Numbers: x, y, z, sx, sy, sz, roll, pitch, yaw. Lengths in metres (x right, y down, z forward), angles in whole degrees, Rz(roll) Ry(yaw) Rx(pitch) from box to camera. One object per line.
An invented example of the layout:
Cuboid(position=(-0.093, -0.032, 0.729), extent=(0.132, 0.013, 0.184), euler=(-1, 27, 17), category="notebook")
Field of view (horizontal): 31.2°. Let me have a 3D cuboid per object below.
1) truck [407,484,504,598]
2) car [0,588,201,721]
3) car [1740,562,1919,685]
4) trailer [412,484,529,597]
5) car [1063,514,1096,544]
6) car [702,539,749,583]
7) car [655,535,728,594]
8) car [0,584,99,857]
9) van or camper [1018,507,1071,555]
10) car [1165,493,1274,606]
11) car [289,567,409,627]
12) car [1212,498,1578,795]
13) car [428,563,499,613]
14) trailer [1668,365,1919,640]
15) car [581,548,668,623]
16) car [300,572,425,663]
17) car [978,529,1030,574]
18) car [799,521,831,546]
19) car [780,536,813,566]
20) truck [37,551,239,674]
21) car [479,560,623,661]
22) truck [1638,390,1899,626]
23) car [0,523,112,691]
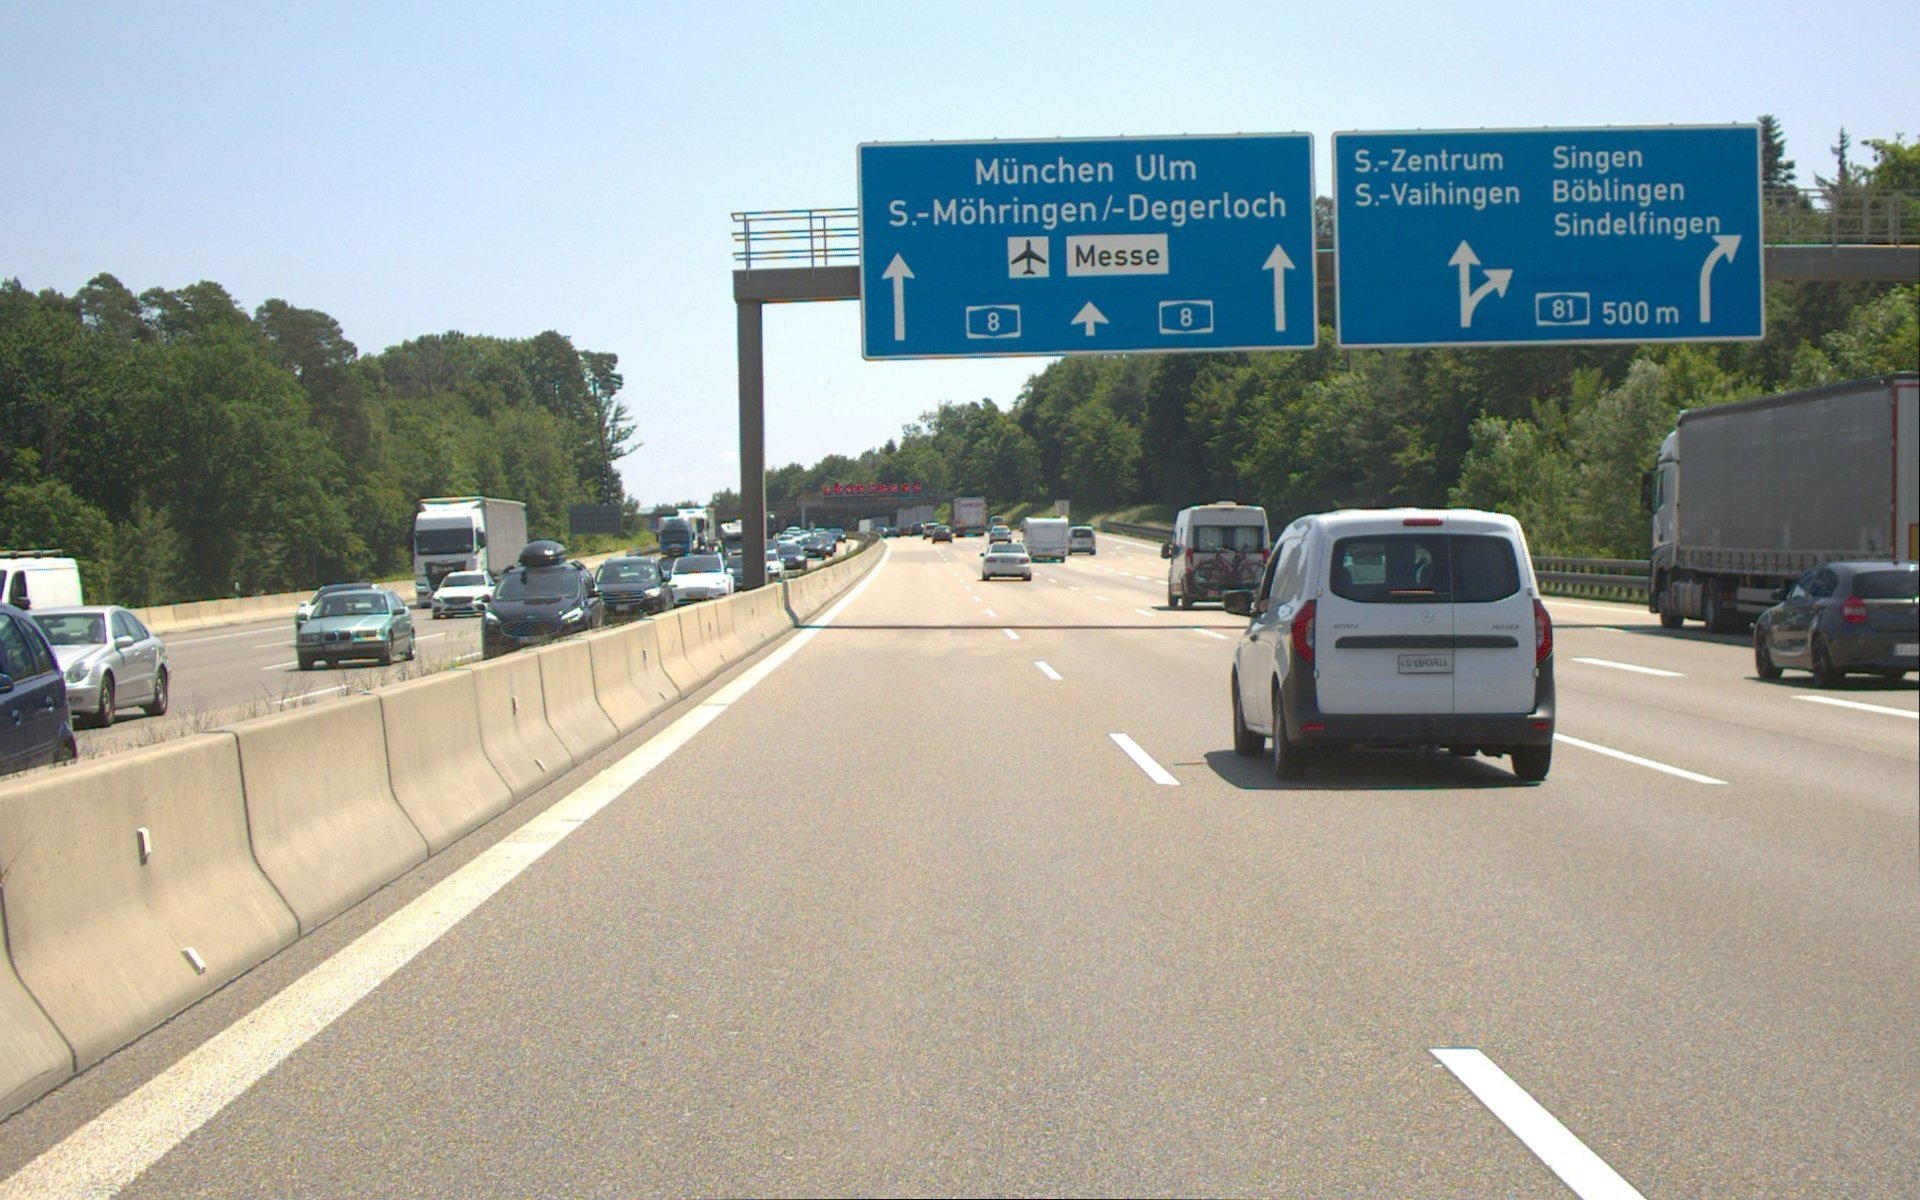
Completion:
Cuboid(position=(-19.510, -2.237, 133.224), extent=(2.760, 4.205, 6.378), euler=(-2, 0, -1), category="truck")
Cuboid(position=(-10.749, 0.636, 42.629), extent=(1.678, 1.439, 4.526), euler=(-3, 1, -1), category="car")
Cuboid(position=(10.163, 0.225, 38.893), extent=(1.670, 1.269, 4.290), euler=(0, 1, 0), category="car")
Cuboid(position=(-19.525, -2.298, 137.928), extent=(2.754, 4.231, 13.719), euler=(-2, 0, -1), category="trailer")
Cuboid(position=(7.542, -4.518, 217.595), extent=(1.820, 1.853, 4.000), euler=(-1, 1, -1), category="car")
Cuboid(position=(-8.636, -1.436, 126.858), extent=(1.537, 1.545, 4.071), euler=(-2, 1, -2), category="car")
Cuboid(position=(-8.005, -1.072, 102.913), extent=(1.812, 1.667, 4.476), euler=(-2, 1, 0), category="car")
Cuboid(position=(-6.777, 0.765, 21.744), extent=(1.705, 1.656, 3.760), euler=(-1, 1, 0), category="car")
Cuboid(position=(4.712, -3.840, 192.825), extent=(2.645, 2.530, 6.502), euler=(-2, 1, -1), category="van or camper")
Cuboid(position=(6.285, -1.244, 83.796), extent=(2.143, 2.643, 5.710), euler=(-1, 1, 0), category="car")
Cuboid(position=(-14.551, -0.099, 82.140), extent=(1.993, 1.302, 4.845), euler=(-2, 1, 0), category="car")
Cuboid(position=(2.927, 0.278, 24.096), extent=(1.859, 1.819, 4.612), euler=(-2, 0, -1), category="car")
Cuboid(position=(-15.765, -0.392, 109.280), extent=(1.663, 1.450, 3.840), euler=(-3, 1, 0), category="car")
Cuboid(position=(14.737, -1.475, 55.963), extent=(3.287, 3.917, 13.891), euler=(0, 1, -1), category="trailer")
Cuboid(position=(-7.921, -0.360, 81.458), extent=(1.754, 1.667, 4.204), euler=(-2, 1, -2), category="car")
Cuboid(position=(-10.762, 0.291, 62.116), extent=(1.549, 1.450, 3.840), euler=(-3, 1, 0), category="car")
Cuboid(position=(1.700, -1.876, 133.420), extent=(1.843, 1.623, 4.553), euler=(-2, 0, -1), category="car")
Cuboid(position=(-9.843, -4.508, 233.878), extent=(1.993, 1.612, 4.000), euler=(-2, 1, -1), category="car")
Cuboid(position=(-8.830, -2.640, 185.472), extent=(1.723, 1.532, 5.056), euler=(-2, 1, -3), category="car")
Cuboid(position=(-16.694, 0.200, 70.220), extent=(2.511, 2.237, 6.440), euler=(-3, 1, 0), category="truck")
Cuboid(position=(-7.154, 0.142, 60.608), extent=(1.870, 1.600, 5.228), euler=(-2, 1, 0), category="car")
Cuboid(position=(14.618, -1.657, 62.621), extent=(3.254, 4.092, 5.988), euler=(0, 1, -1), category="truck")
Cuboid(position=(-14.699, 0.141, 52.201), extent=(1.930, 2.405, 6.626), euler=(-4, 0, -1), category="car")
